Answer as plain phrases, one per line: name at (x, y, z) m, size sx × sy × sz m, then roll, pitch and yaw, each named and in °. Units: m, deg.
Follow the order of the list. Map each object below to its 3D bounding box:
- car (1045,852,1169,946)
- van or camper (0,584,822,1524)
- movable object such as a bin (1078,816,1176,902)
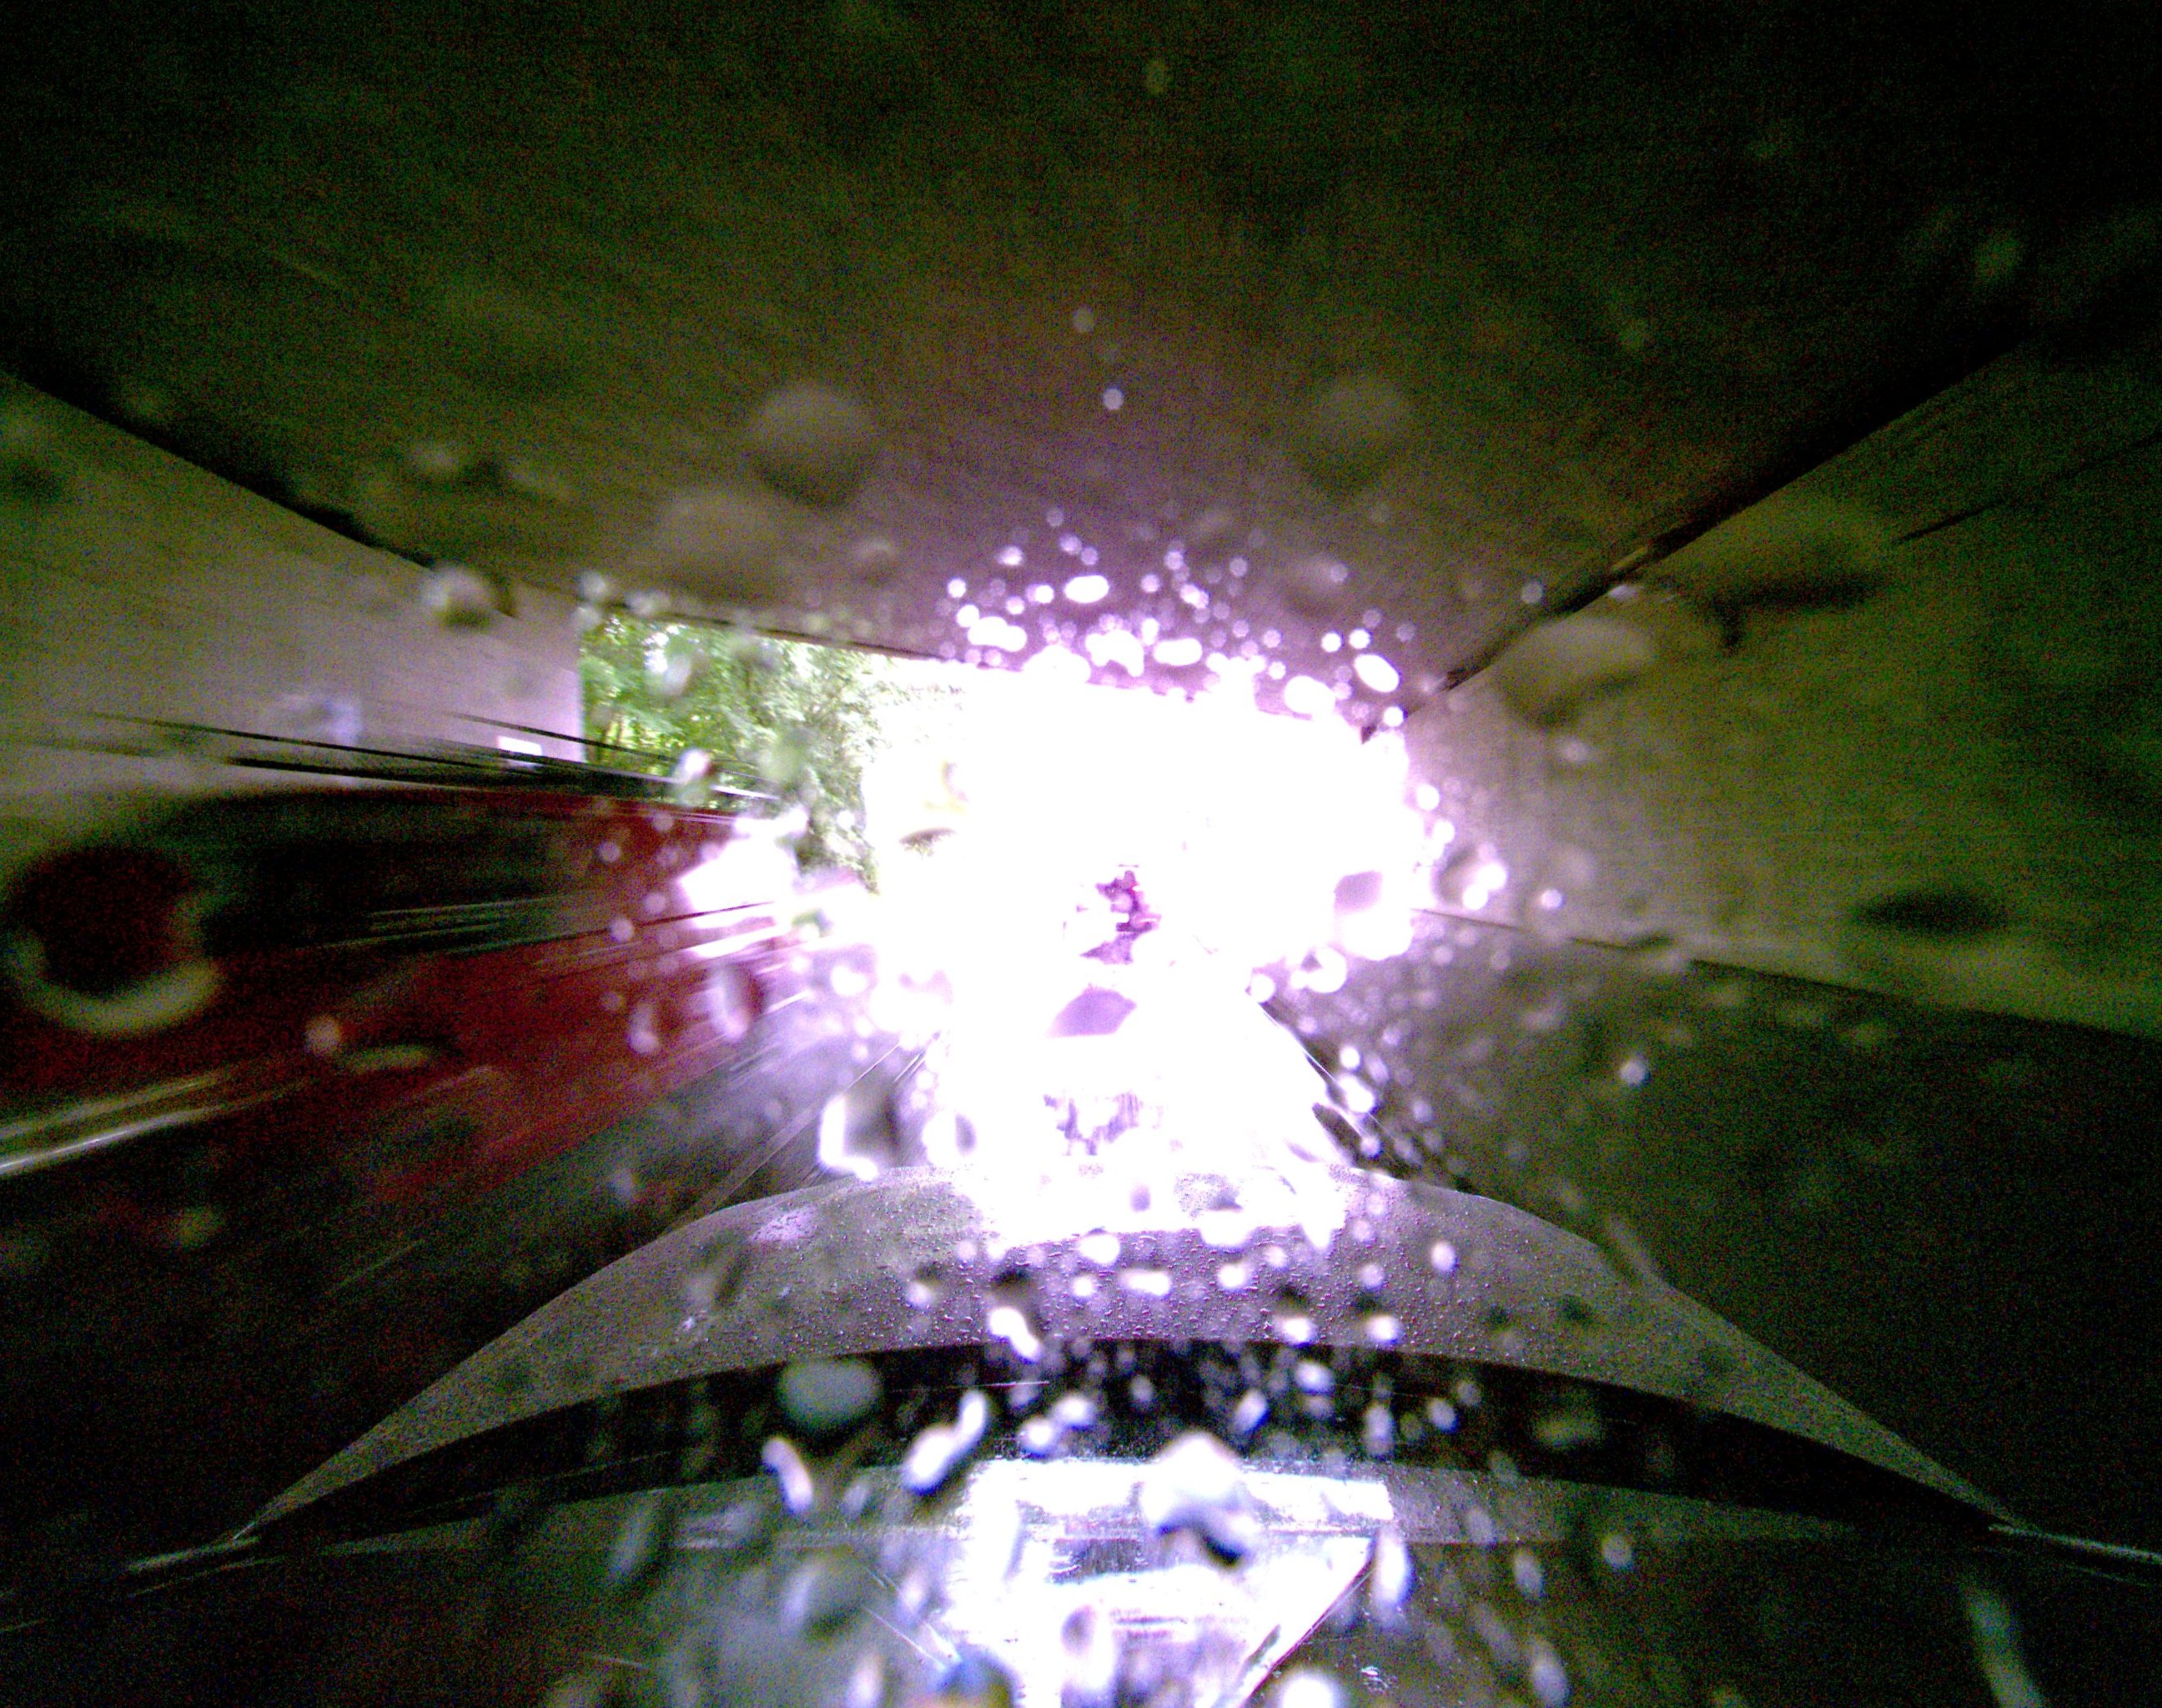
car at (0.356, 0.719, 15.056) m, size 1.988 × 1.487 × 3.997 m, roll 0°, pitch 0°, yaw -2°
van or camper at (-3.156, 0.447, 4.188) m, size 1.986 × 2.098 × 4.694 m, roll 0°, pitch 0°, yaw 2°
movable object such as a bin at (1.807, 0.160, 28.802) m, size 2.230 × 2.669 × 6.651 m, roll 0°, pitch 0°, yaw 14°
